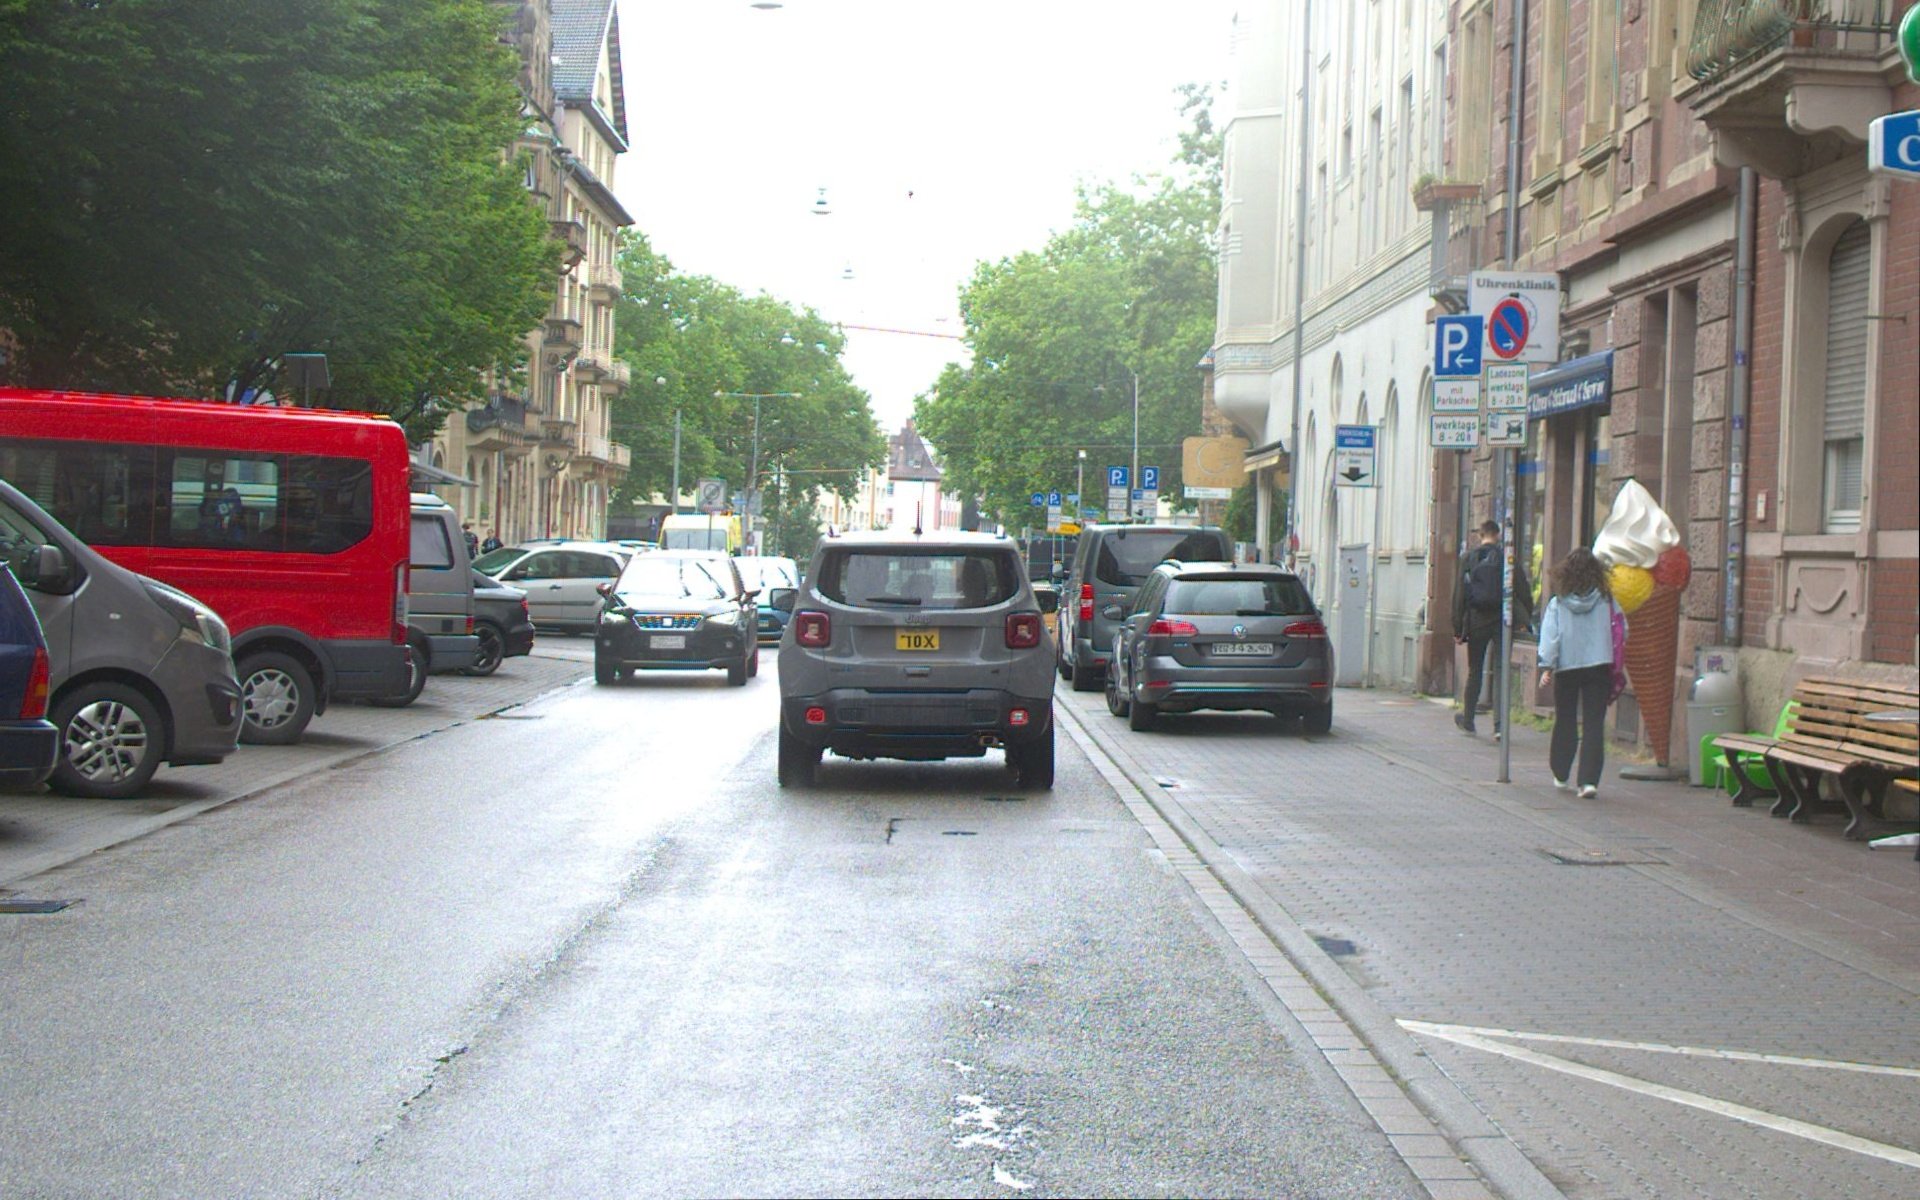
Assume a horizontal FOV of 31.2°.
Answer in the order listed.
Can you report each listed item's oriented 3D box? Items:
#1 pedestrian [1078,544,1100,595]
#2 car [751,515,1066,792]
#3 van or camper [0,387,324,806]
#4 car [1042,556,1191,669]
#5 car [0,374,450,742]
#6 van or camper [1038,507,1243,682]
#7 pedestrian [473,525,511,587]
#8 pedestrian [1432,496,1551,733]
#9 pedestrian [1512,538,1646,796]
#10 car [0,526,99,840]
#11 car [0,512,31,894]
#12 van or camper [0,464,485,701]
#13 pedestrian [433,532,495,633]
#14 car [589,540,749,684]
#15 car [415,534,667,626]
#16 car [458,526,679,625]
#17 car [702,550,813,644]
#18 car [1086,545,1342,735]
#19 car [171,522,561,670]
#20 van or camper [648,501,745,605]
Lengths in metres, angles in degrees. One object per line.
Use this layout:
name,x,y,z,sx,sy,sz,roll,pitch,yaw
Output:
pedestrian,4.325,-1.016,115.060,0.690,1.705,0.684,1,1,0
car,-0.377,0.303,23.429,1.898,1.665,4.506,1,1,-2
van or camper,-6.518,-0.087,19.984,5.008,2.341,2.345,2,1,-26
car,2.024,0.140,45.326,1.710,1.396,3.705,1,1,-1
car,-6.820,-0.338,25.258,5.554,2.532,2.230,2,1,-28
van or camper,2.027,-0.096,39.984,2.021,1.884,5.055,1,1,-1
pedestrian,-11.950,-1.125,87.798,0.709,1.546,0.607,4,1,6
pedestrian,4.465,0.109,28.871,0.680,1.927,0.808,1,4,35
pedestrian,3.944,0.414,21.941,0.679,1.608,0.810,1,1,0
car,-6.650,0.281,17.015,4.341,1.499,1.755,3,1,-23
car,-6.425,0.256,14.564,4.430,1.625,1.845,4,1,-26
van or camper,-6.802,-0.146,31.494,4.434,1.968,1.781,2,1,-33
pedestrian,-8.964,-0.320,62.107,0.825,1.746,0.757,4,1,6
car,-3.360,0.108,40.251,1.669,1.554,4.004,2,1,-3
car,-6.816,-0.323,56.016,3.702,1.447,1.685,0,1,-35
car,-6.699,-0.415,58.896,3.375,1.648,1.634,0,1,-33
car,-3.310,-0.074,56.714,1.669,1.460,4.004,1,1,-2
car,2.181,0.309,30.549,1.841,1.540,4.004,1,1,-2
car,-6.740,-0.029,39.215,3.967,1.442,1.767,3,1,-40
van or camper,-7.057,-1.216,92.677,2.121,2.522,6.875,-2,-1,-1
